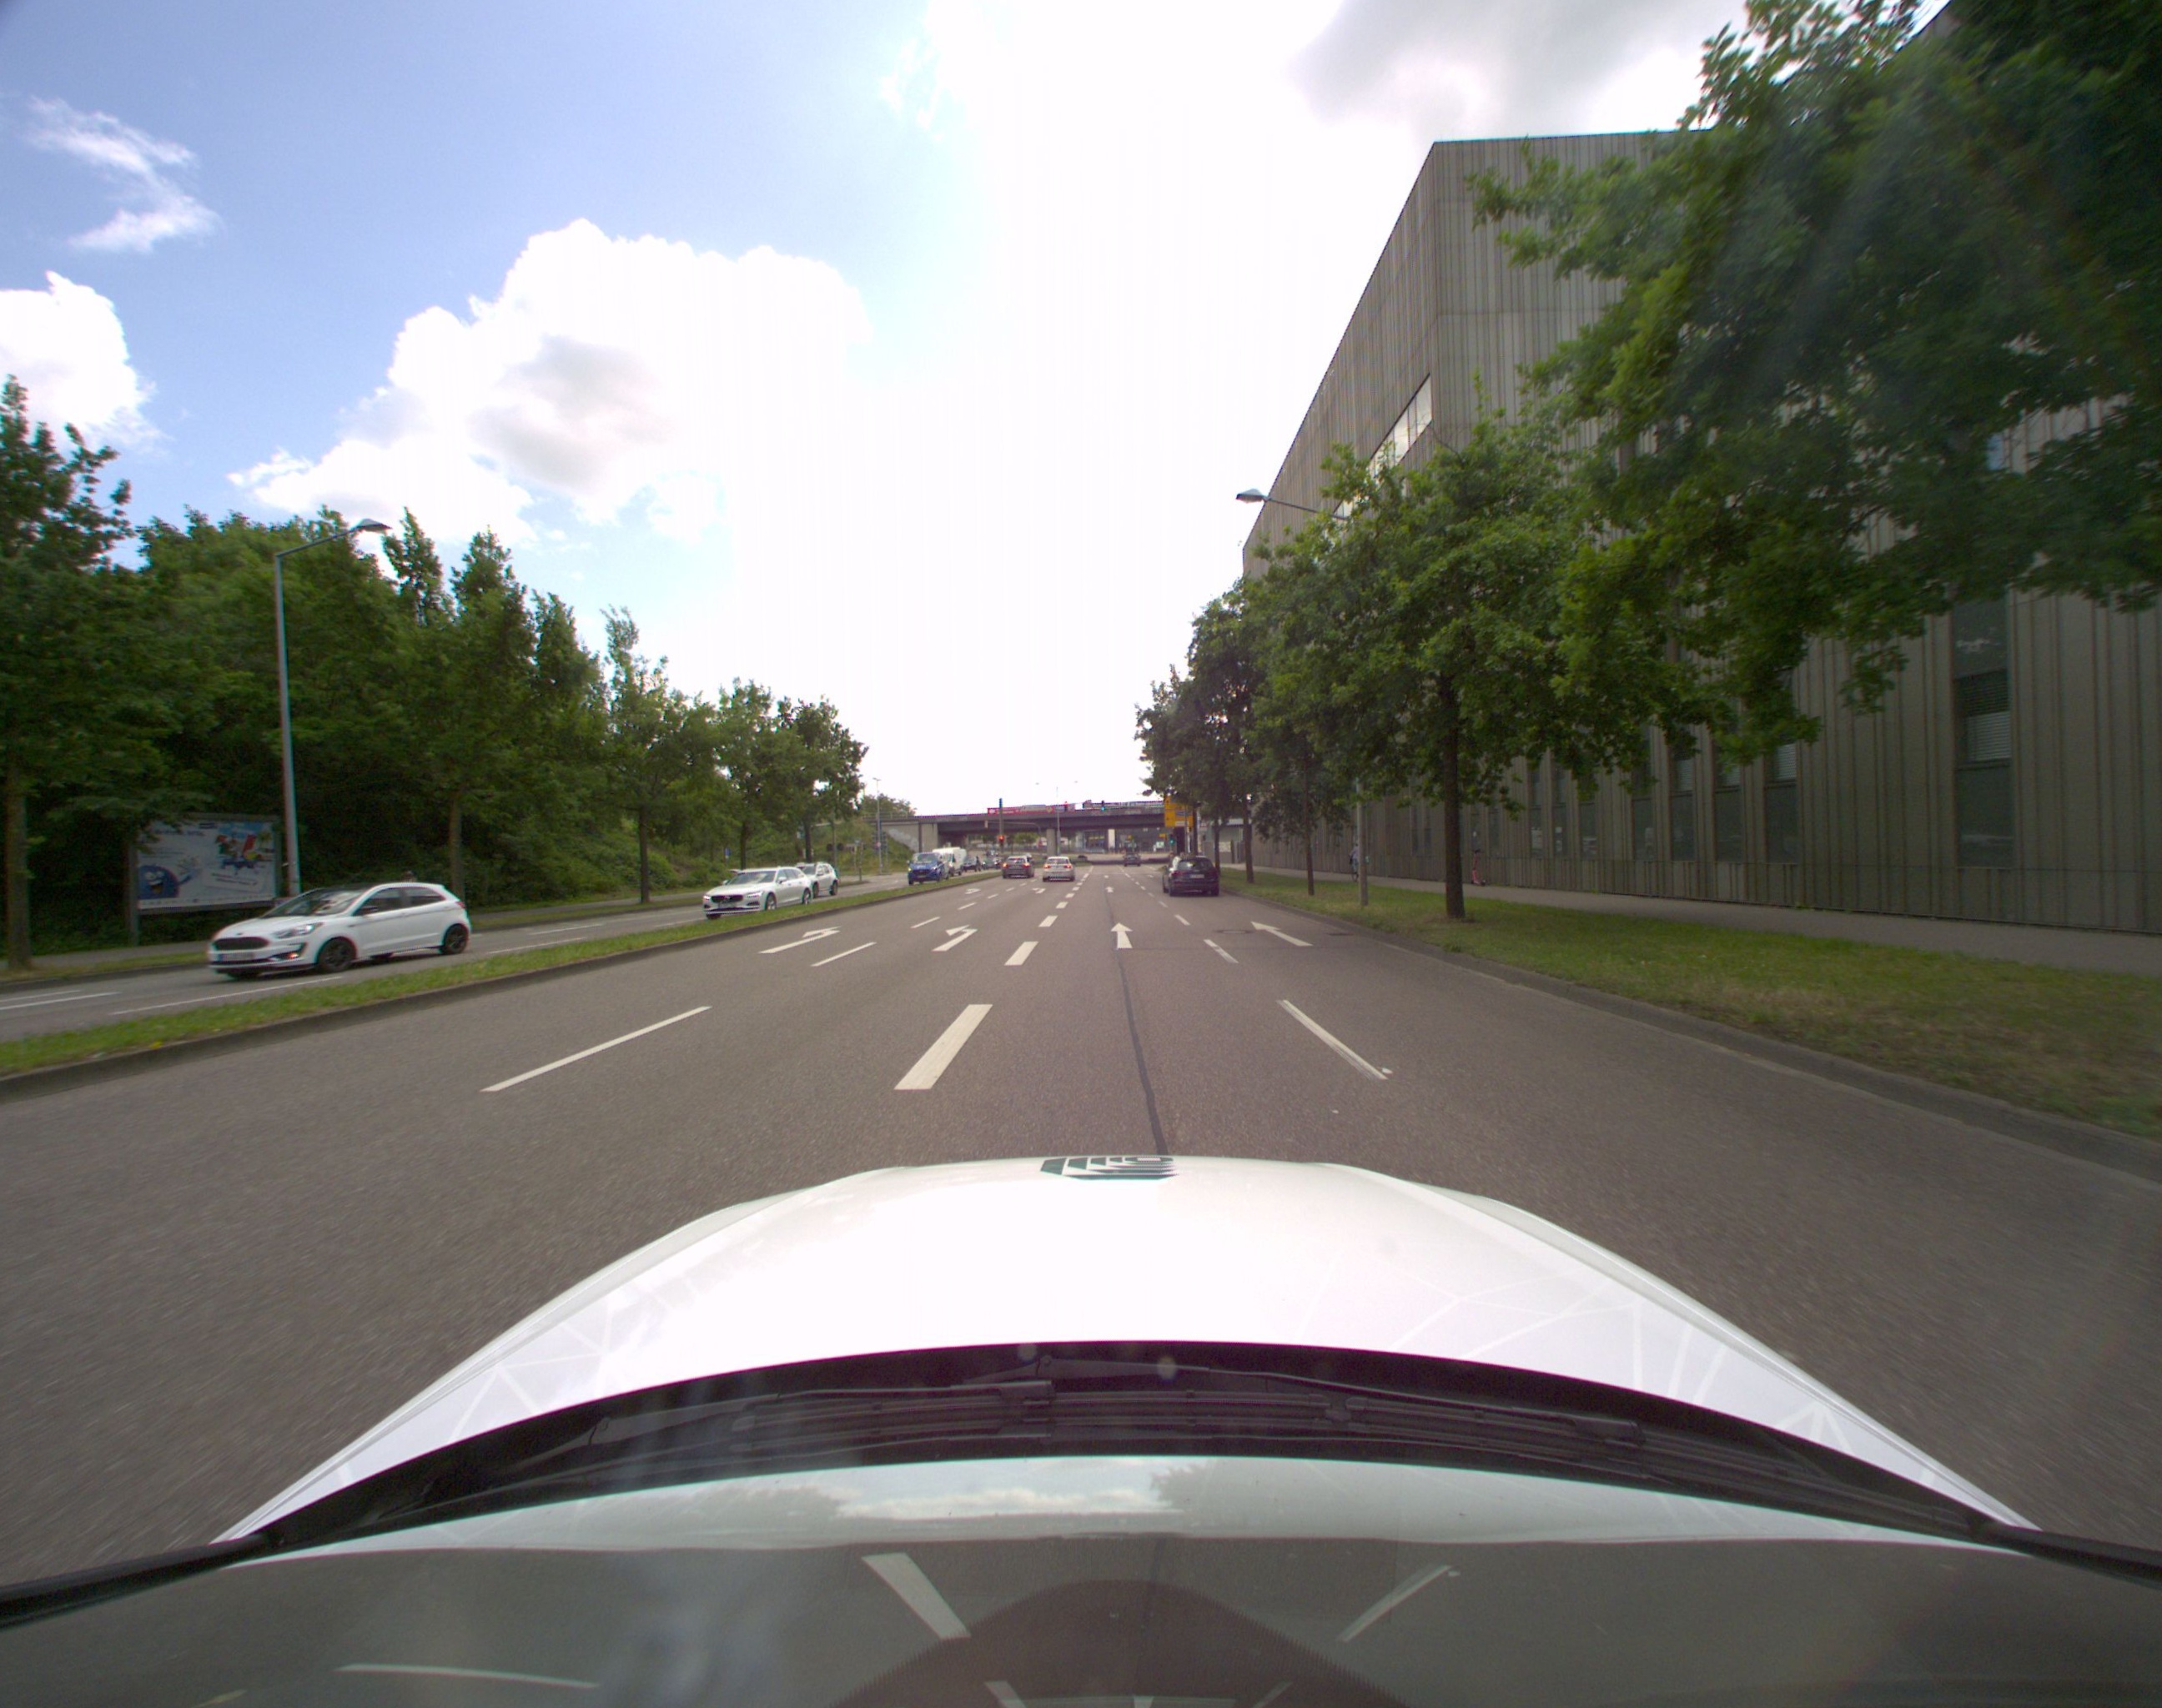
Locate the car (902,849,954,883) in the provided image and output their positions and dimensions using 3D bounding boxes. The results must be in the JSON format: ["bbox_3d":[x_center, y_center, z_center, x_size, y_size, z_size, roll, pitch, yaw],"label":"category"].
[{"bbox_3d":[-9.612,0.698,51.485,2.183,1.963,5.193,-2,0,0],"label":"car"}]

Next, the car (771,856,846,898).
[{"bbox_3d":[-12.974,1.046,39.109,1.987,1.801,4.409,-3,0,0],"label":"car"}]

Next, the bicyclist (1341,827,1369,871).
[{"bbox_3d":[11.363,-0.212,33.798,0.713,1.769,0.988,-2,0,-2],"label":"bicyclist"}]

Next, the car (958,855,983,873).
[{"bbox_3d":[-11.747,1.017,86.752,1.987,1.766,4.220,-2,0,1],"label":"car"}]

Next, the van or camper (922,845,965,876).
[{"bbox_3d":[-11.823,0.547,70.565,2.344,2.539,7.064,-1,0,0],"label":"van or camper"}]

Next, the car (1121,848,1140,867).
[{"bbox_3d":[5.675,0.383,94.464,1.986,2.037,4.715,-2,0,2],"label":"car"}]

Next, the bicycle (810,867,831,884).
[{"bbox_3d":[-20.796,1.704,65.118,0.818,1.270,2.395,-1,0,3],"label":"bicycle"}]

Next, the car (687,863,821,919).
[{"bbox_3d":[-10.015,1.078,25.458,1.986,1.431,5.026,-2,0,2],"label":"car"}]

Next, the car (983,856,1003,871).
[{"bbox_3d":[-10.663,1.115,98.898,1.799,1.632,4.394,-2,0,1],"label":"car"}]

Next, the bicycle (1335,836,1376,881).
[{"bbox_3d":[11.378,0.189,33.858,0.718,1.774,2.531,-2,0,-2],"label":"bicycle"}]

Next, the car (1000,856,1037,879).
[{"bbox_3d":[-4.107,0.840,54.156,1.986,1.415,4.834,-1,0,1],"label":"car"}]

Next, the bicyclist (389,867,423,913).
[{"bbox_3d":[-22.138,1.180,26.717,0.492,1.464,0.713,-1,0,0],"label":"bicyclist"}]

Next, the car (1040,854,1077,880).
[{"bbox_3d":[-1.281,0.749,47.820,1.908,1.415,4.297,1,0,1],"label":"car"}]

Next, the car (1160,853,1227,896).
[{"bbox_3d":[4.122,0.715,30.598,1.986,1.390,4.577,-1,1,1],"label":"car"}]

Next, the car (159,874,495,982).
[{"bbox_3d":[-13.327,1.205,14.890,1.908,1.442,4.415,-4,0,1],"label":"car"}]

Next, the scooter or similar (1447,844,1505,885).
[{"bbox_3d":[12.963,0.332,26.811,0.702,1.246,2.481,-3,0,2],"label":"scooter or similar"}]
